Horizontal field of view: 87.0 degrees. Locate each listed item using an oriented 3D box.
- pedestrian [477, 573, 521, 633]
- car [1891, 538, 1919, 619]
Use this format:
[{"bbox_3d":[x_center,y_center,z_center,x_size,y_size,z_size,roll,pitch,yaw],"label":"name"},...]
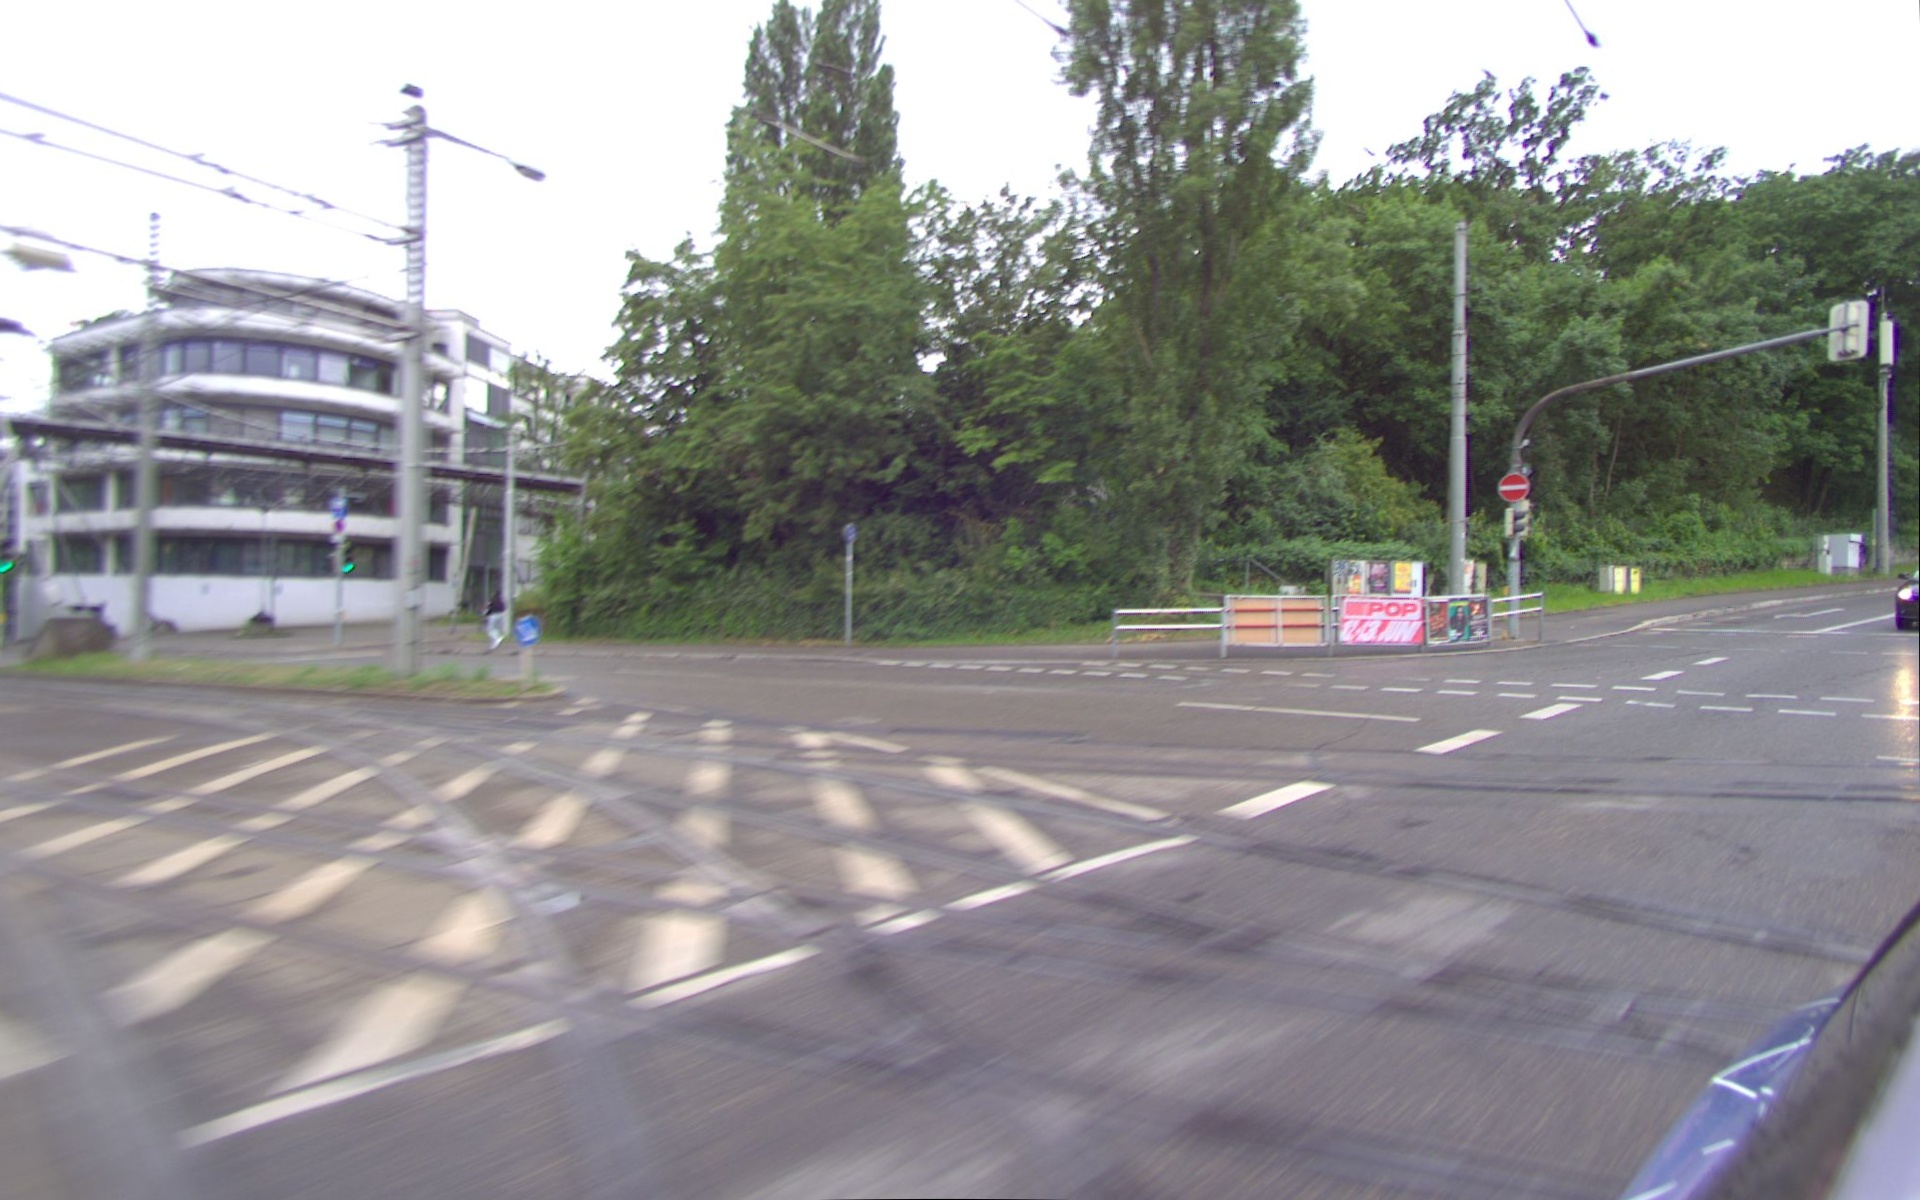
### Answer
[{"bbox_3d":[-12.471,0.072,27.404,0.651,1.573,0.800,-1,2,36],"label":"pedestrian"},{"bbox_3d":[22.209,-0.589,21.972,3.924,1.605,1.860,-8,6,-30],"label":"car"}]
